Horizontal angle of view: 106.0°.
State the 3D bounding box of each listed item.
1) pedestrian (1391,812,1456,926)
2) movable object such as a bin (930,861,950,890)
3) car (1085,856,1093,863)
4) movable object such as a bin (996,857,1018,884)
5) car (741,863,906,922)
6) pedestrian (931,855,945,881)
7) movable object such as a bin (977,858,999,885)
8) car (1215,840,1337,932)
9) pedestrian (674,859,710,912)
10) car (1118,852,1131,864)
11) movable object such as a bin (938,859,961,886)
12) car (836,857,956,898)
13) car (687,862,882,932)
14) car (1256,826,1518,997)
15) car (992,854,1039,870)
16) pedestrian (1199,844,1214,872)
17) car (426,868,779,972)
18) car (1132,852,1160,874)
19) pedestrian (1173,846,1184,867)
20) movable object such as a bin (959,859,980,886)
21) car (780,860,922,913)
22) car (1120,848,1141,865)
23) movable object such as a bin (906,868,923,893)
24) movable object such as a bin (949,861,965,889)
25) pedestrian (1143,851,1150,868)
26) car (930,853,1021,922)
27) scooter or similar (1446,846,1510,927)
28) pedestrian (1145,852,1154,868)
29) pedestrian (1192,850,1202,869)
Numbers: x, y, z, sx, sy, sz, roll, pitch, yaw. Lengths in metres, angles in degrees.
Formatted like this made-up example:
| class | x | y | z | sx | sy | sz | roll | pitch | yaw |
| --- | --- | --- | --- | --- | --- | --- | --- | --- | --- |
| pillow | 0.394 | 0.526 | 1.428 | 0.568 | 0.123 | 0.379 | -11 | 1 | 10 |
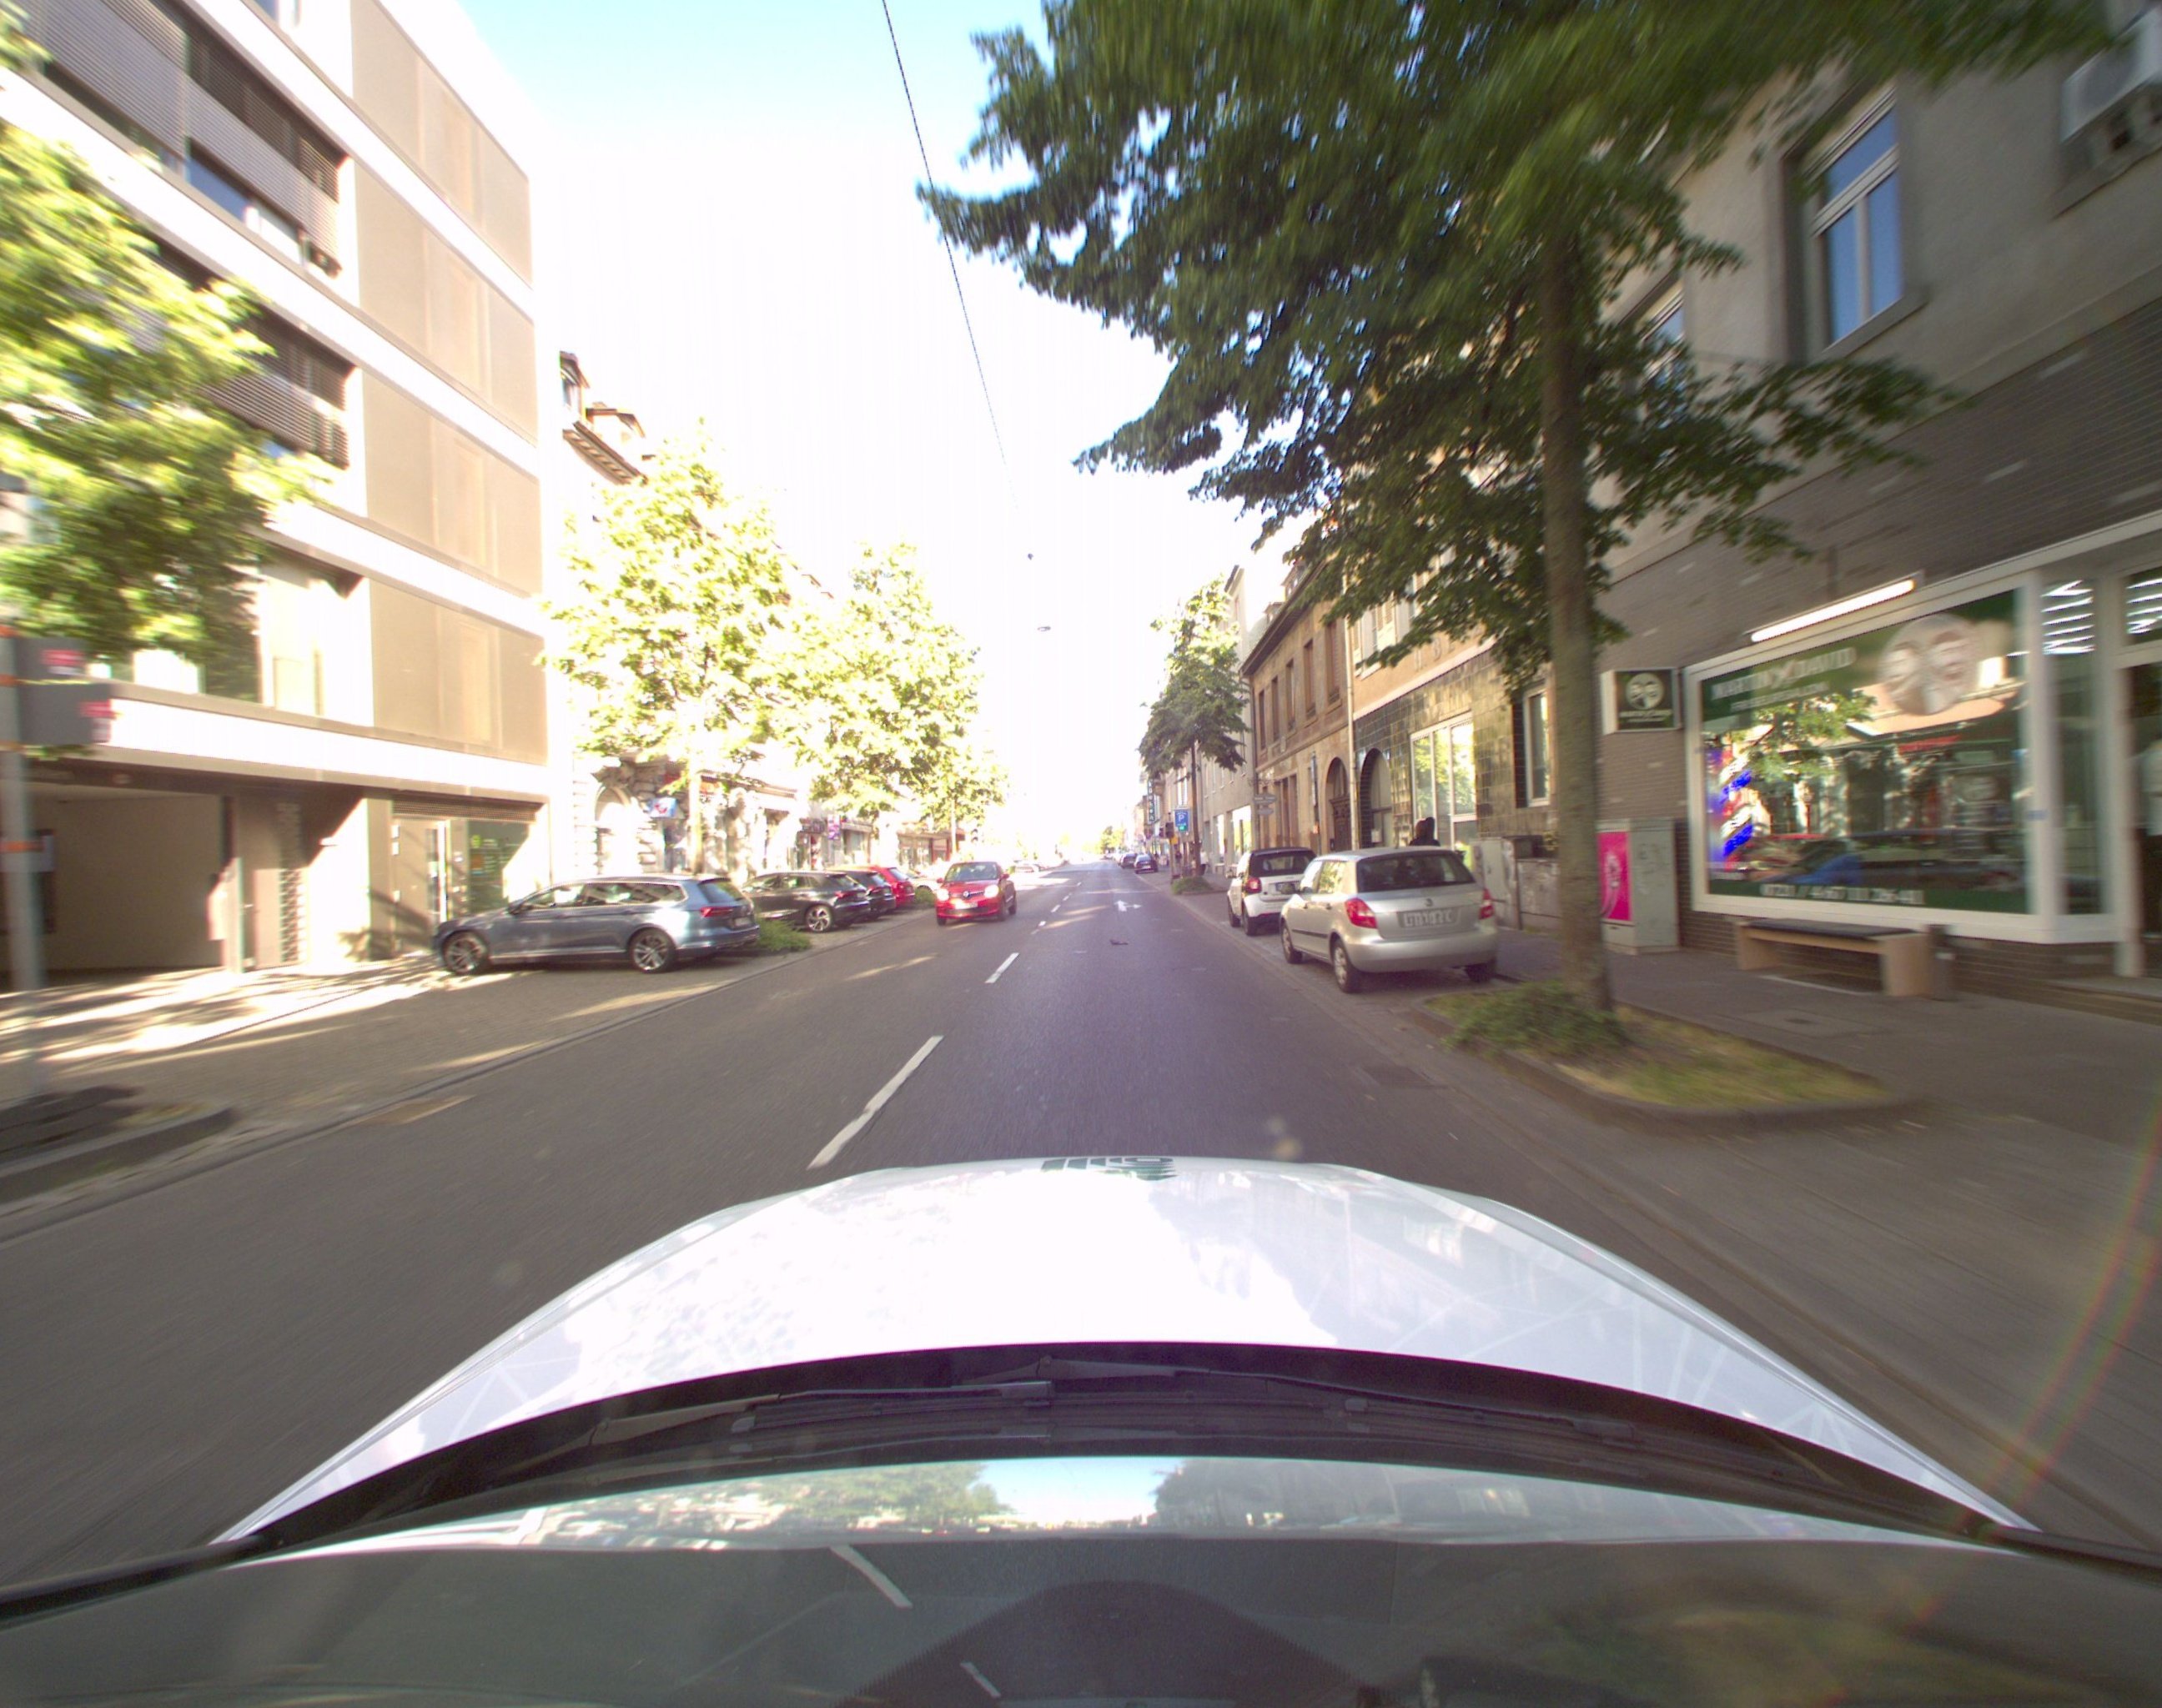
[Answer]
| class | x | y | z | sx | sy | sz | roll | pitch | yaw |
| --- | --- | --- | --- | --- | --- | --- | --- | --- | --- |
| pedestrian | 5.551 | 0.236 | 13.238 | 0.620 | 1.765 | 0.771 | -4 | -1 | 2 |
| movable object such as a bin | -6.916 | 1.055 | 39.987 | 0.752 | 1.341 | 0.805 | -3 | 0 | 0 |
| car | 2.339 | 1.615 | 236.840 | 1.985 | 1.772 | 4.003 | -1 | 0 | 3 |
| movable object such as a bin | -4.234 | 0.922 | 46.847 | 1.038 | 1.471 | 1.452 | -3 | 0 | 0 |
| car | -6.896 | 1.010 | 22.071 | 3.825 | 1.429 | 1.791 | -1 | 0 | 3 |
| pedestrian | -9.532 | 0.923 | 54.349 | 0.662 | 1.659 | 1.037 | -2 | 0 | 1 |
| movable object such as a bin | -5.333 | 0.985 | 46.758 | 1.038 | 1.471 | 1.143 | -3 | 0 | 0 |
| car | 3.709 | 0.568 | 15.974 | 1.608 | 1.528 | 3.061 | -4 | 0 | 1 |
| pedestrian | -10.542 | 0.847 | 22.099 | 0.505 | 1.408 | 0.826 | -1 | 0 | 6 |
| car | 6.435 | 0.621 | 121.541 | 1.711 | 1.636 | 4.083 | -1 | -1 | 0 |
| movable object such as a bin | -7.532 | 1.051 | 46.775 | 1.038 | 1.471 | 1.143 | -3 | 0 | 0 |
| car | -7.199 | 0.910 | 31.919 | 4.185 | 1.468 | 1.741 | -1 | 0 | 3 |
| car | -6.937 | 0.990 | 19.303 | 3.903 | 1.485 | 1.772 | -1 | 0 | 3 |
| car | 3.462 | 0.568 | 10.120 | 1.608 | 1.528 | 4.235 | -5 | 0 | 1 |
| car | -6.492 | 0.762 | 80.507 | 4.292 | 1.487 | 1.919 | -2 | 0 | -39 |
| pedestrian | 7.108 | 0.224 | 46.306 | 0.578 | 1.559 | 1.021 | -5 | -1 | 1 |
| car | -7.361 | 0.991 | 12.864 | 4.478 | 1.459 | 1.790 | -1 | 0 | 0 |
| car | 5.214 | 0.683 | 65.737 | 1.910 | 1.478 | 4.967 | -6 | 0 | 2 |
| pedestrian | 7.691 | 0.201 | 64.252 | 0.689 | 1.635 | 0.889 | -4 | 0 | 1 |
| movable object such as a bin | -6.406 | 1.038 | 46.703 | 0.960 | 1.471 | 1.143 | -2 | -1 | 0 |
| car | -6.878 | 0.955 | 24.607 | 3.735 | 1.468 | 1.740 | -1 | 0 | 1 |
| car | 5.151 | 0.250 | 85.342 | 1.966 | 1.725 | 4.826 | -1 | 0 | 2 |
| movable object such as a bin | -7.409 | 1.179 | 36.317 | 0.529 | 1.069 | 0.805 | -3 | 0 | 0 |
| movable object such as a bin | -6.082 | 1.007 | 39.991 | 0.632 | 1.341 | 0.805 | -2 | 0 | 0 |
| pedestrian | 6.849 | 0.608 | 84.809 | 0.617 | 1.766 | 0.519 | -2 | -1 | 4 |
| car | -2.641 | 0.795 | 21.127 | 1.652 | 1.535 | 3.762 | -4 | 0 | 2 |
| scooter or similar | 6.202 | 0.484 | 12.781 | 0.398 | 1.187 | 1.168 | -4 | 0 | 3 |
| pedestrian | 7.169 | 0.616 | 84.768 | 0.797 | 1.675 | 0.590 | -4 | -1 | 4 |
| pedestrian | 6.594 | 0.325 | 46.234 | 0.392 | 1.033 | 0.740 | -5 | -1 | 0 |
